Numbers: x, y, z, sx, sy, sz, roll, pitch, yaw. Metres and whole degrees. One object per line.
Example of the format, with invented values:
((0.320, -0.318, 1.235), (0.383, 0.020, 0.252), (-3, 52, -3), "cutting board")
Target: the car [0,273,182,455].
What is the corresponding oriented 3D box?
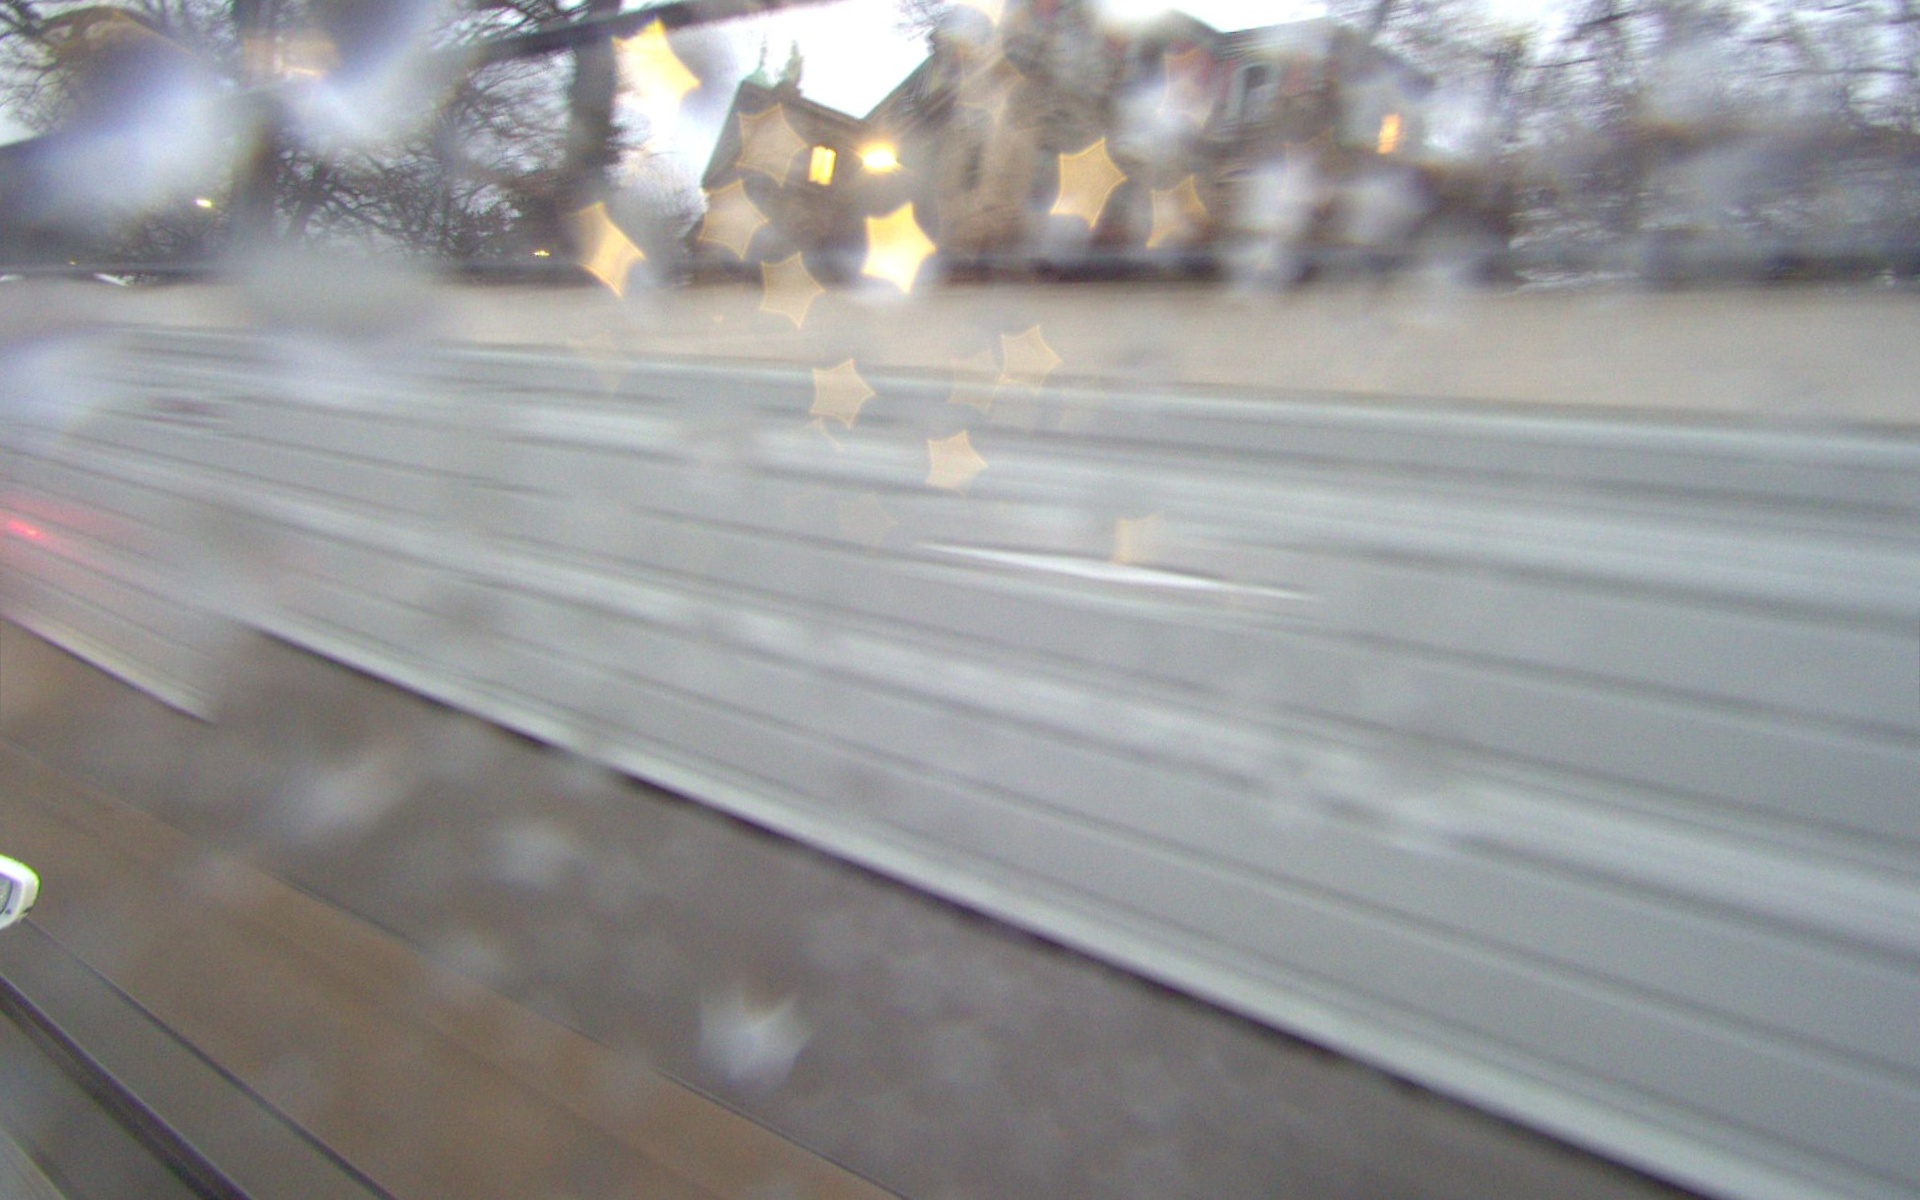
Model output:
((-11.083, -2.789, 11.867), (3.935, 1.496, 1.725), (11, 0, 34), "car")
